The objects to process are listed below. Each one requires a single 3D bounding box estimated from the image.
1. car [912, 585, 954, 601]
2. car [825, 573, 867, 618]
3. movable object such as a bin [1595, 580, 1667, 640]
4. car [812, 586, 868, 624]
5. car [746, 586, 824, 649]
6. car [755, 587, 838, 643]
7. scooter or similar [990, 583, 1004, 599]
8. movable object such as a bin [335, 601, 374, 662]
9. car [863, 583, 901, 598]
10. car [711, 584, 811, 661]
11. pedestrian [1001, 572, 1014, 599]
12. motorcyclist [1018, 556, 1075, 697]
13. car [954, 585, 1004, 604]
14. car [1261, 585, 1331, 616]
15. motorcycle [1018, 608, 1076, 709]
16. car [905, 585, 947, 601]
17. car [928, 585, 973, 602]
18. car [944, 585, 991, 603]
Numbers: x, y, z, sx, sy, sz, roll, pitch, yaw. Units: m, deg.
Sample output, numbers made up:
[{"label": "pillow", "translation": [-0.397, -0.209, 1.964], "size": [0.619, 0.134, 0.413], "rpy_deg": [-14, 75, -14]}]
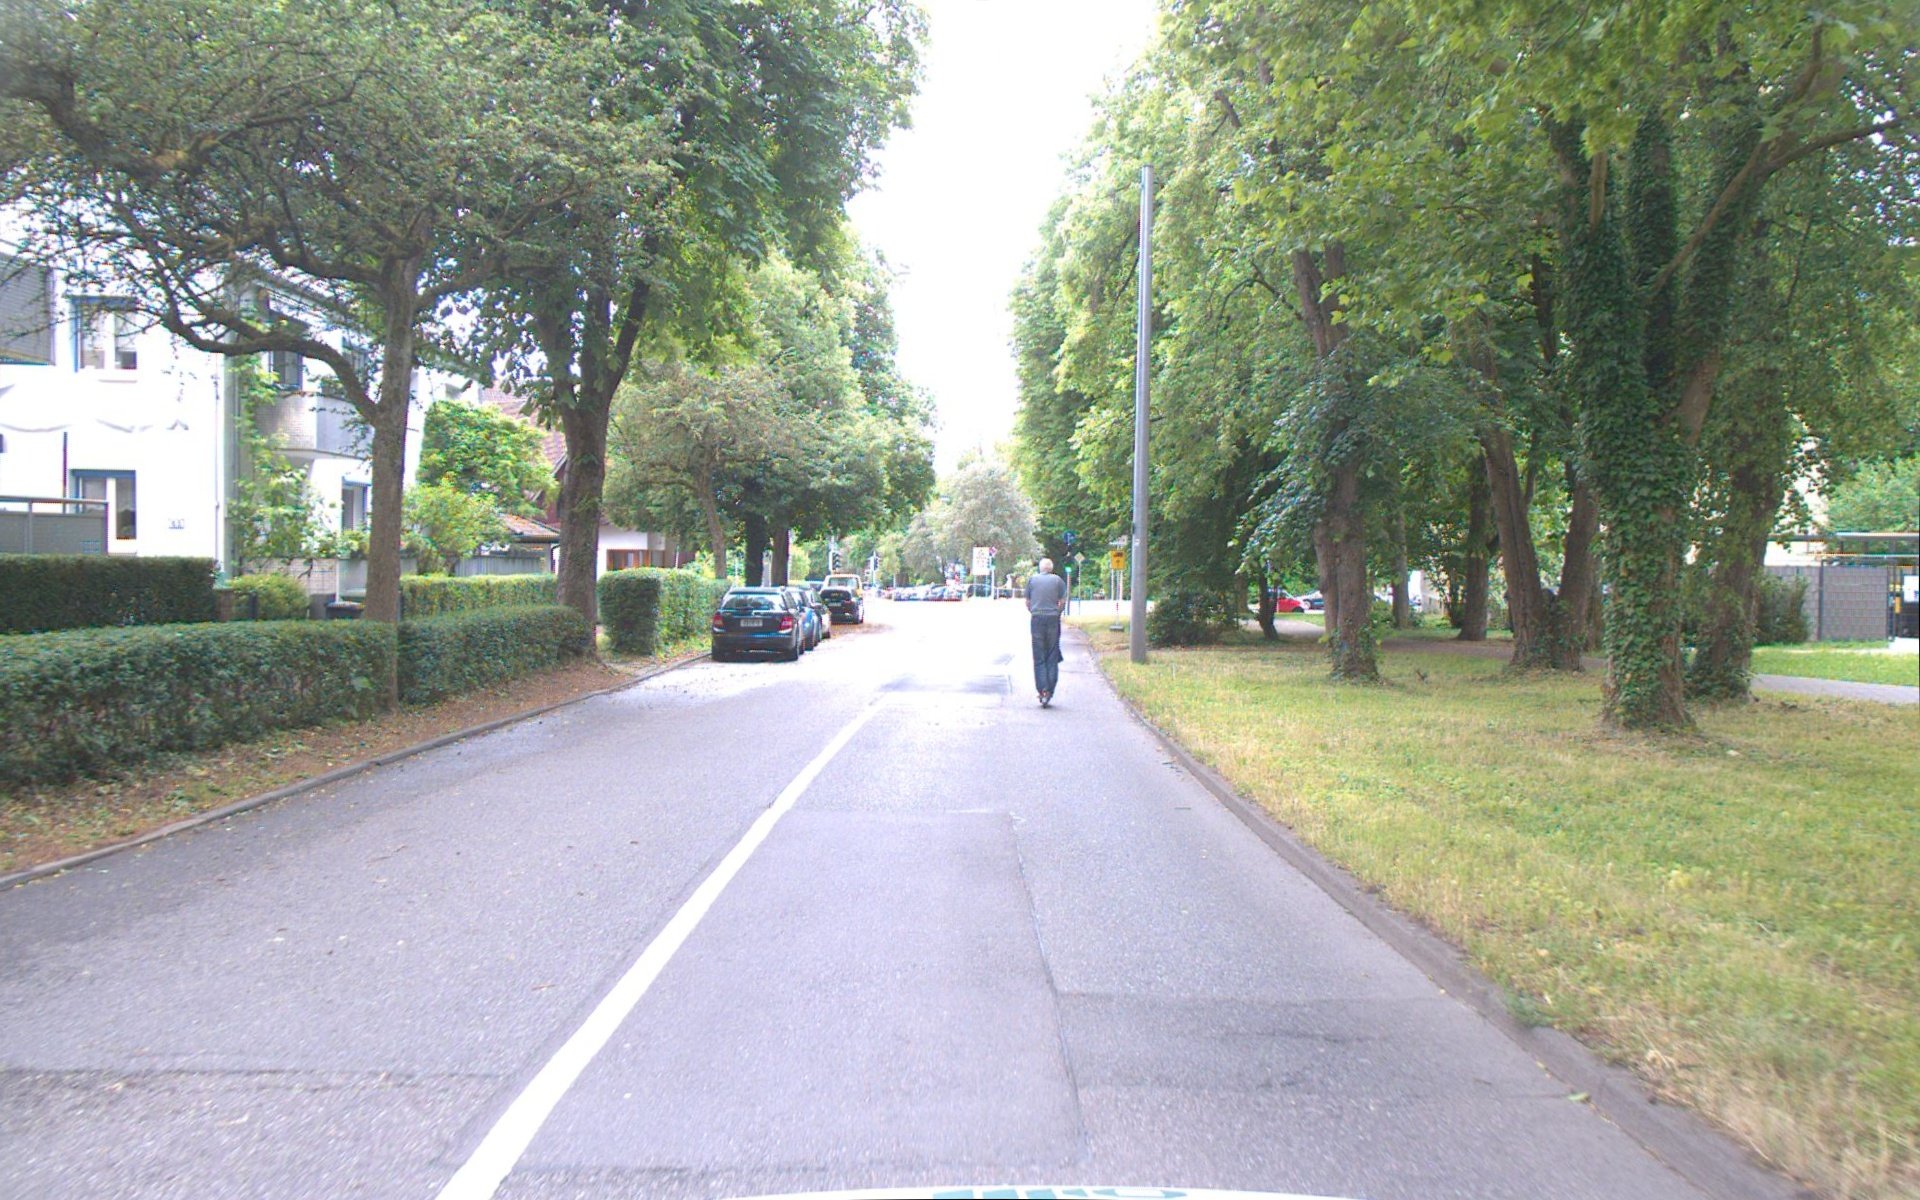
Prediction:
[{"label": "car", "translation": [-2.543, -0.695, 157.094], "size": [3.907, 1.536, 1.799], "rpy_deg": [0, 0, -3]}, {"label": "car", "translation": [-5.279, -0.194, 76.225], "size": [1.821, 1.998, 4.499], "rpy_deg": [0, 0, -6]}, {"label": "movable object such as a bin", "translation": [17.440, 0.250, 43.044], "size": [1.300, 1.527, 1.314], "rpy_deg": [-1, 0, -3]}, {"label": "car", "translation": [-4.709, 0.195, 65.304], "size": [1.853, 1.435, 4.553], "rpy_deg": [0, 0, 0]}, {"label": "car", "translation": [-4.114, 0.391, 39.293], "size": [1.631, 1.416, 3.705], "rpy_deg": [0, 1, -3]}, {"label": "car", "translation": [-4.388, 0.373, 45.004], "size": [1.757, 1.435, 4.645], "rpy_deg": [0, 1, 0]}, {"label": "scooter or similar", "translation": [2.547, -0.624, 113.844], "size": [0.695, 1.067, 0.787], "rpy_deg": [0, 0, 19]}, {"label": "movable object such as a bin", "translation": [-9.361, 0.479, 25.569], "size": [0.447, 0.931, 0.508], "rpy_deg": [0, 0, -7]}, {"label": "car", "translation": [-8.172, -1.008, 173.440], "size": [3.907, 1.536, 1.799], "rpy_deg": [0, 0, -3]}, {"label": "car", "translation": [-4.058, 0.417, 34.314], "size": [1.758, 1.498, 4.416], "rpy_deg": [0, 1, -3]}, {"label": "pedestrian", "translation": [3.255, -0.994, 113.630], "size": [0.717, 1.792, 0.662], "rpy_deg": [0, 0, 19]}, {"label": "motorcyclist", "translation": [1.126, 0.335, 21.578], "size": [0.659, 1.792, 0.639], "rpy_deg": [2, 0, 1]}, {"label": "car", "translation": [1.543, -0.461, 132.455], "size": [3.907, 1.536, 1.799], "rpy_deg": [0, 0, -3]}, {"label": "car", "translation": [19.365, 0.022, 95.298], "size": [3.902, 1.584, 1.802], "rpy_deg": [2, 4, 12]}, {"label": "motorcycle", "translation": [1.114, 0.740, 21.446], "size": [0.659, 1.238, 1.274], "rpy_deg": [2, 0, 1]}, {"label": "car", "translation": [-3.281, -0.705, 158.982], "size": [3.907, 1.536, 1.799], "rpy_deg": [0, 0, -3]}, {"label": "car", "translation": [-0.851, -0.581, 146.398], "size": [3.907, 1.536, 1.799], "rpy_deg": [0, 0, -3]}, {"label": "car", "translation": [0.627, -0.533, 139.579], "size": [3.907, 1.536, 1.799], "rpy_deg": [0, 0, -3]}]
